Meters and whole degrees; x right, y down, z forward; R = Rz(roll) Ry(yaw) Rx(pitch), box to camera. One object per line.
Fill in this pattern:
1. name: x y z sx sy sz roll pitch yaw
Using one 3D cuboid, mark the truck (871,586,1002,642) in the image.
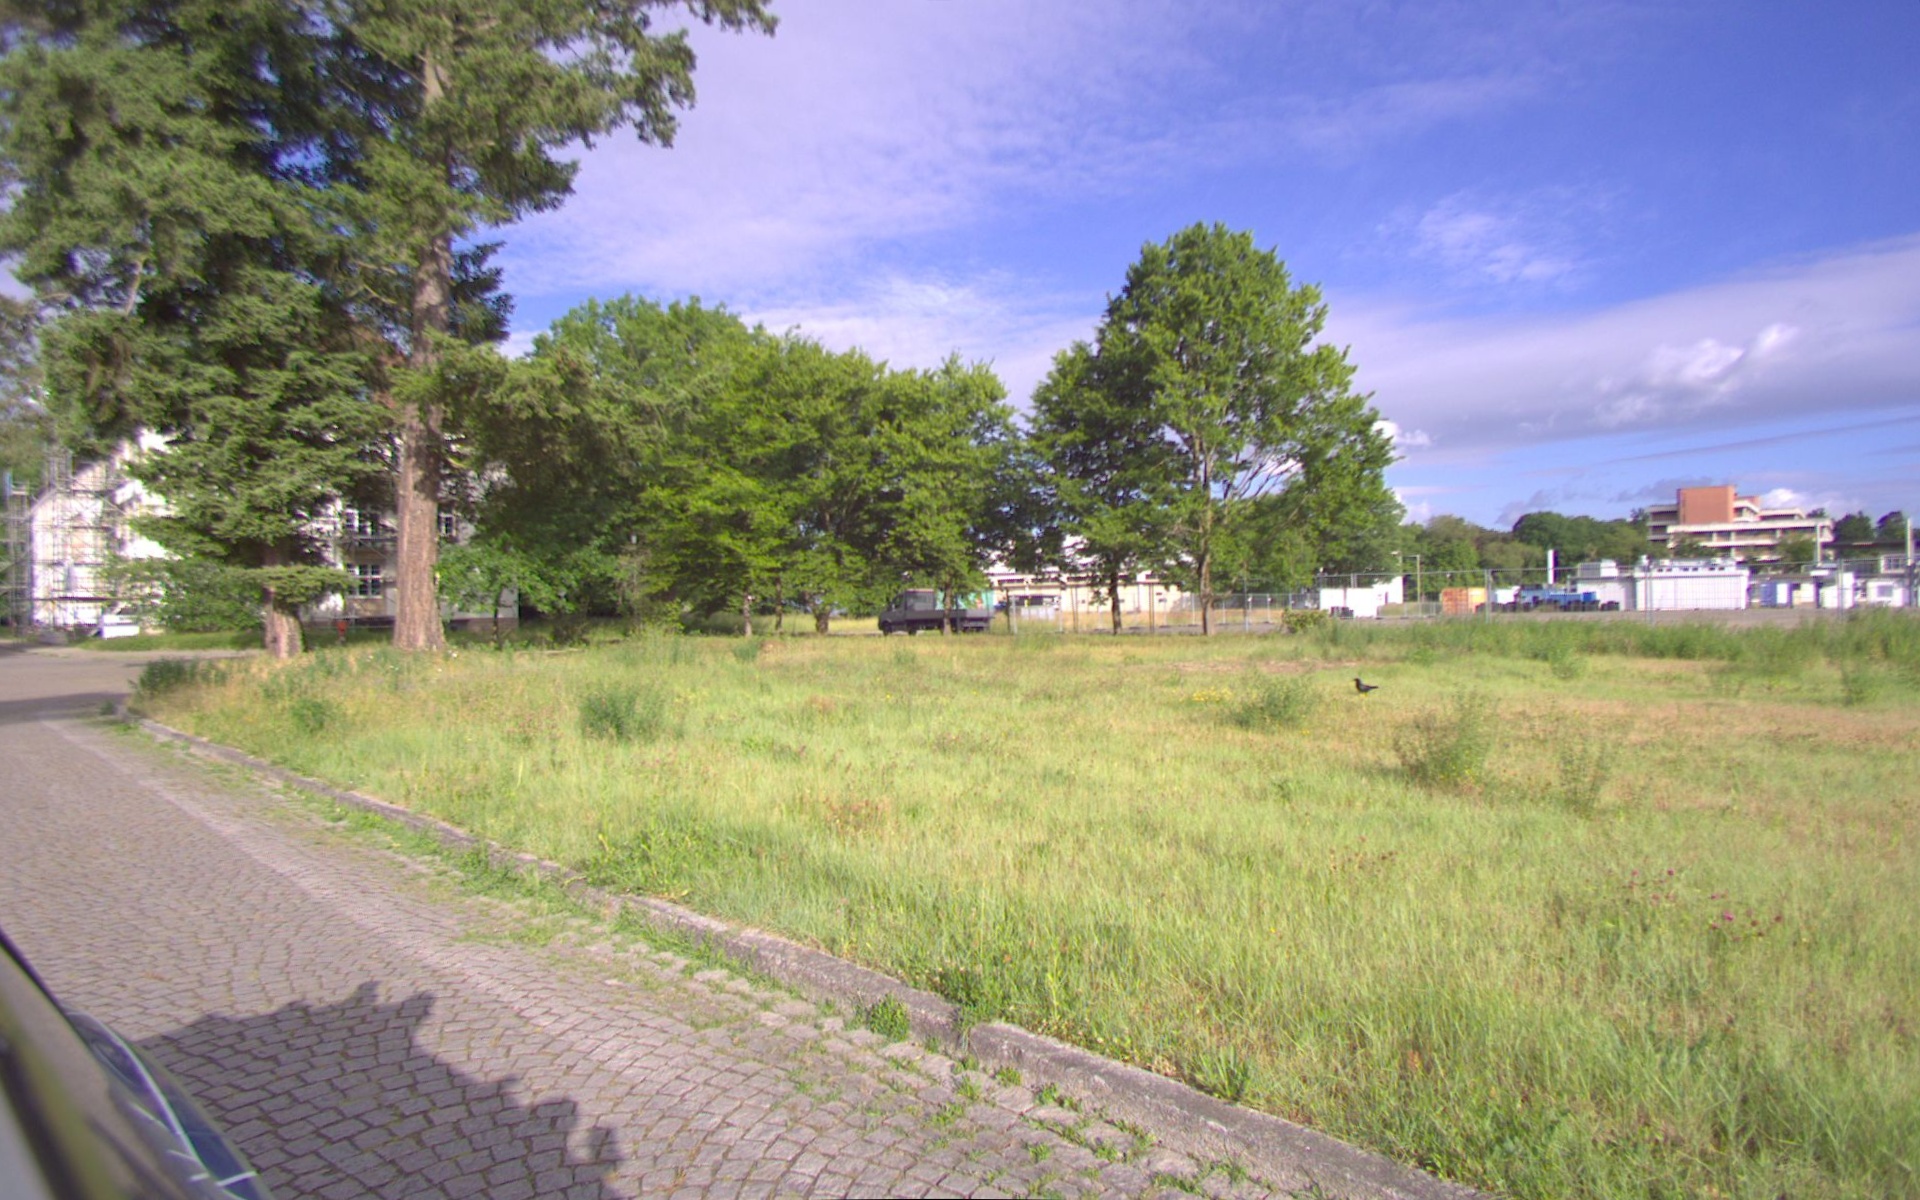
1. truck: -1.264 0.738 50.453 2.384 2.606 6.962 -1 -1 -44
